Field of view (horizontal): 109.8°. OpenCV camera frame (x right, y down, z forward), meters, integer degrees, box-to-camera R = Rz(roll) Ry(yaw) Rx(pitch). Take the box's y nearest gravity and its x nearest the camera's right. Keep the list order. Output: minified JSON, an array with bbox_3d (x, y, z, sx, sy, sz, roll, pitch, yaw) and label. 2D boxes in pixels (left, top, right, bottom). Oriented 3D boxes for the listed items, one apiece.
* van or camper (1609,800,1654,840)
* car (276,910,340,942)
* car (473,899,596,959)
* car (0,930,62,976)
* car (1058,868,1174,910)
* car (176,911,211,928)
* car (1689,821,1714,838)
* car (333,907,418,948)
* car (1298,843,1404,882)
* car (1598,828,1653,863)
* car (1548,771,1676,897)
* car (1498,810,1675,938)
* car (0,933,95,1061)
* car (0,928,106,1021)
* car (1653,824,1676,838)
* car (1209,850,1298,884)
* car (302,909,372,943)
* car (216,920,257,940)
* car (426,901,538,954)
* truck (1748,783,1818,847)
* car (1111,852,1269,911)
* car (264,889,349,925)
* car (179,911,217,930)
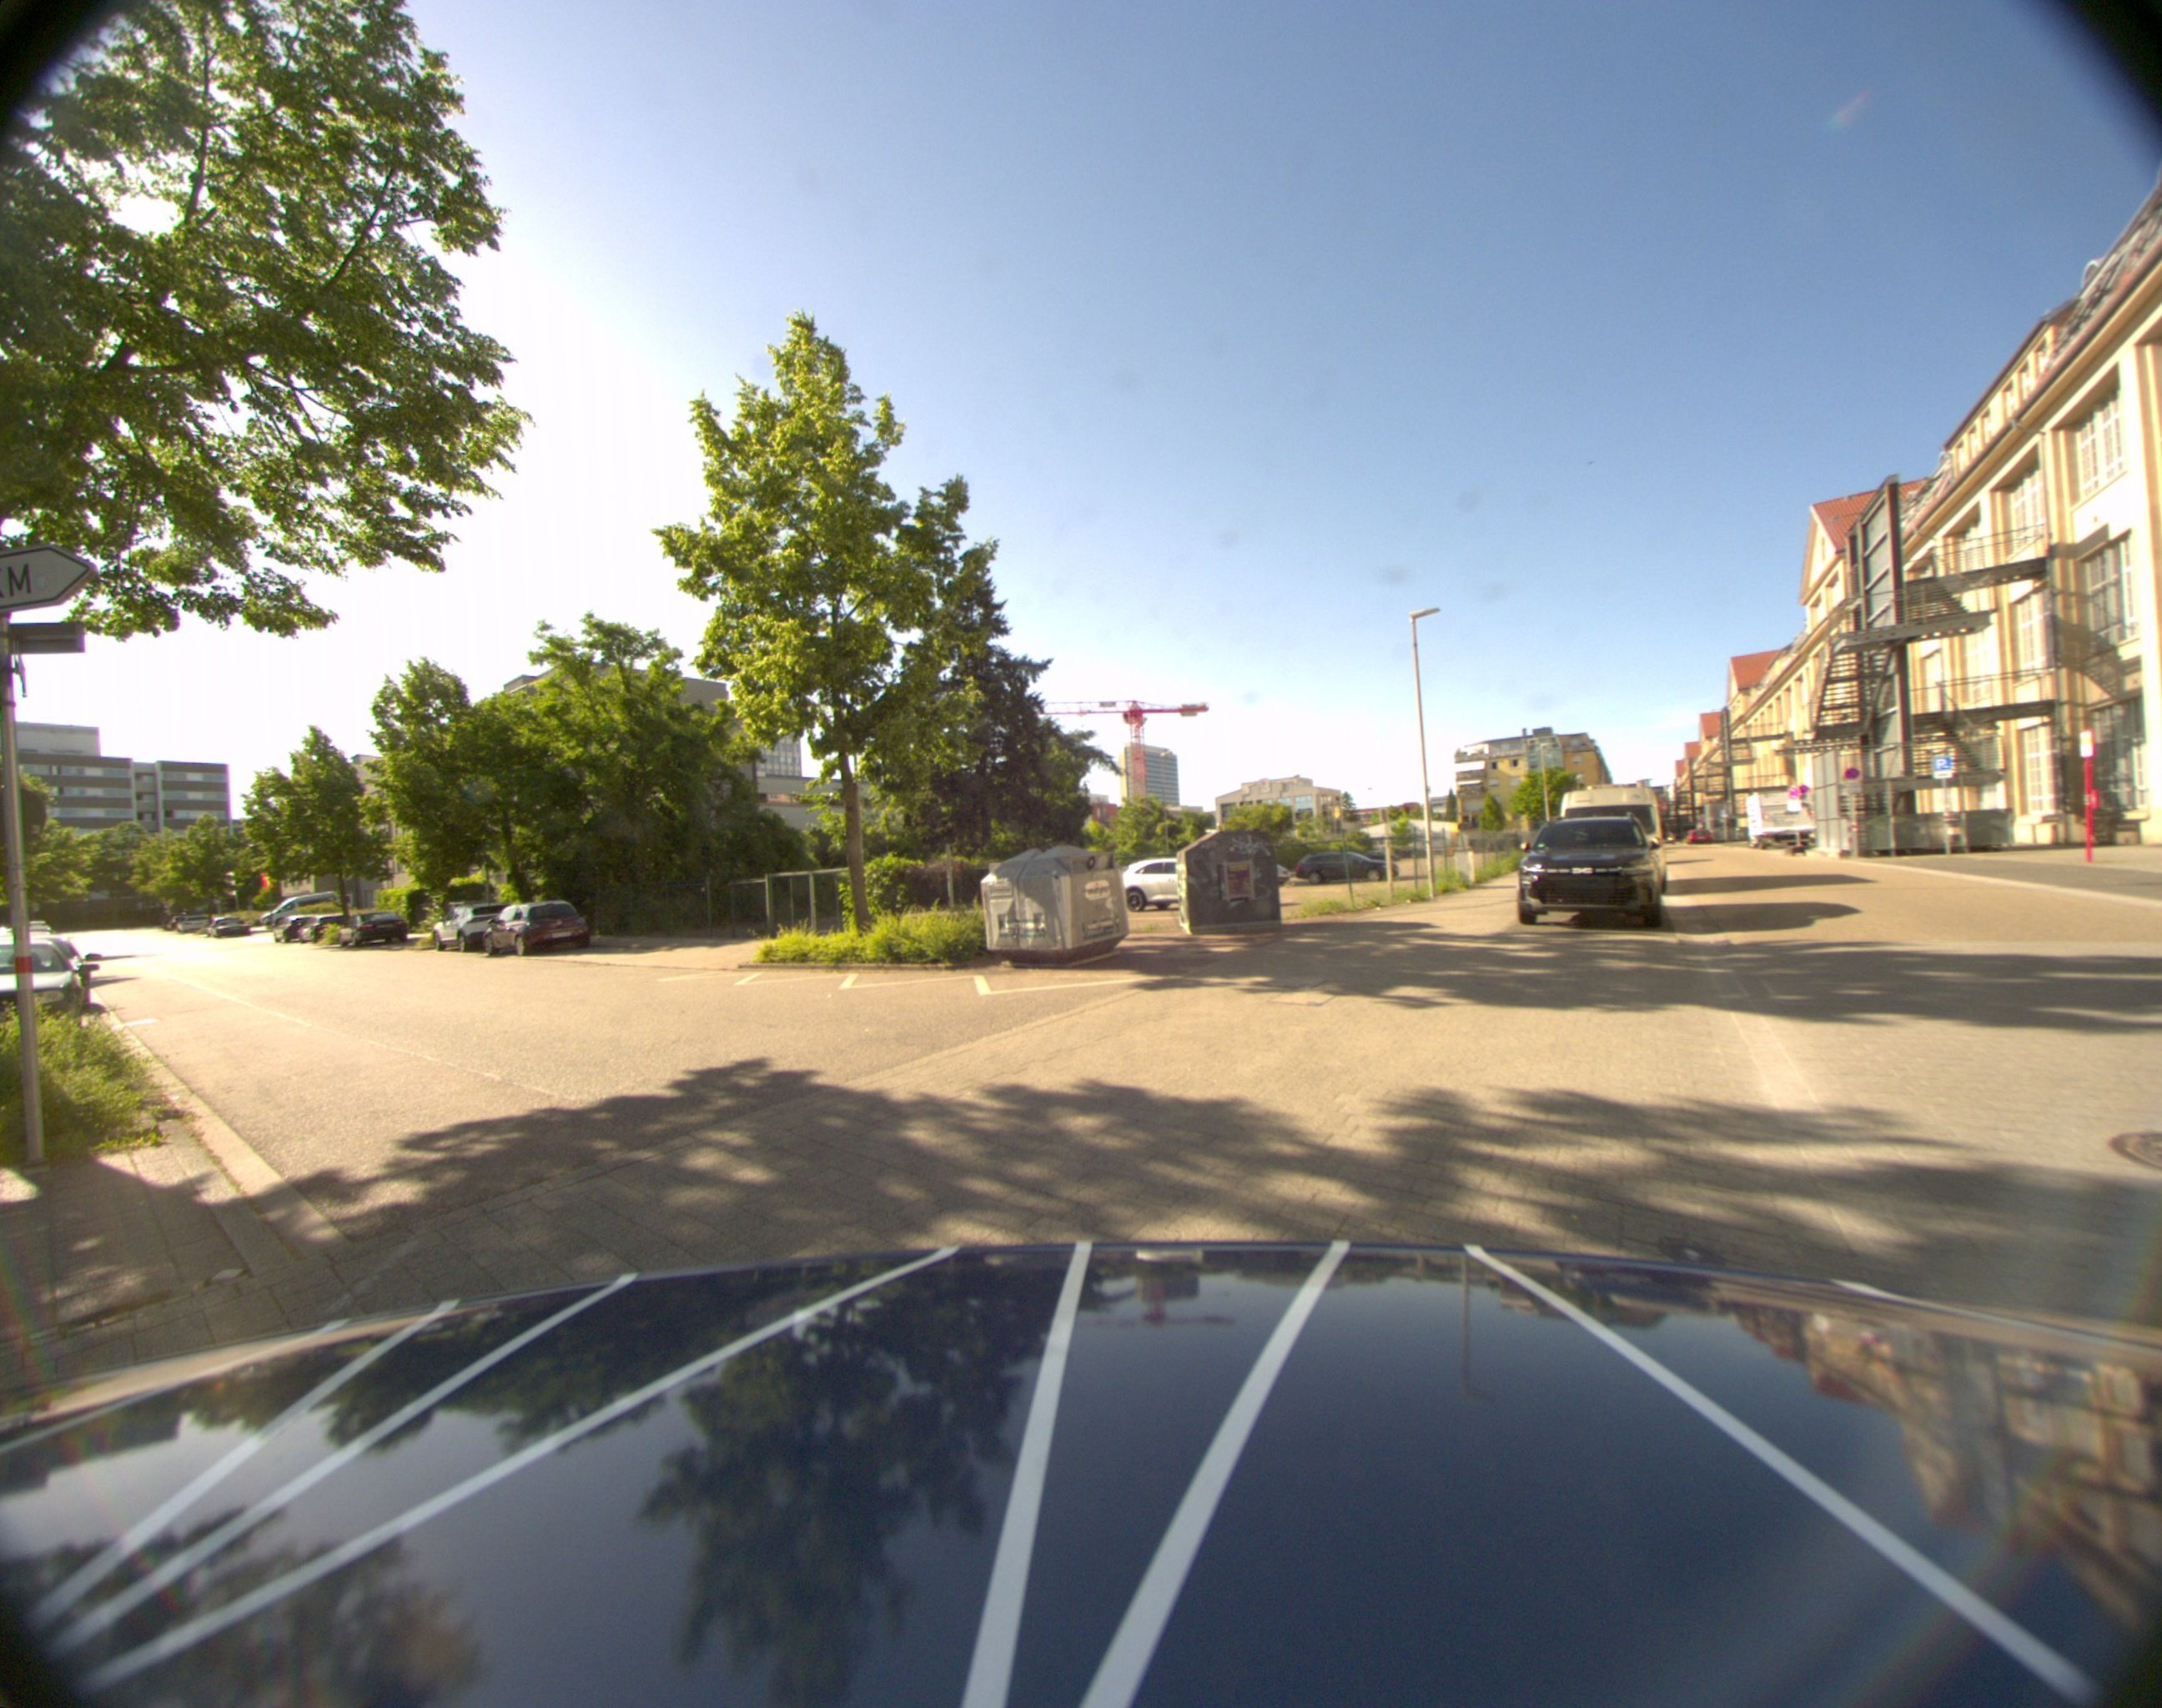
[{"bbox_3d":[43.671,-2.694,60.327,2.717,2.840,5.143,-3,1,35],"label":"van or camper"},{"bbox_3d":[-43.220,3.993,42.474,4.089,1.465,1.849,-3,2,36],"label":"car"},{"bbox_3d":[-16.082,2.168,22.340,3.537,1.465,1.726,-3,2,34],"label":"car"},{"bbox_3d":[-40.069,3.716,28.750,3.837,1.495,1.684,-4,0,36],"label":"car"},{"bbox_3d":[1.379,1.434,31.091,4.363,1.486,1.976,-4,-1,39],"label":"car"},{"bbox_3d":[-89.983,6.608,76.999,3.880,1.509,1.800,-3,1,34],"label":"car"},{"bbox_3d":[60.564,-2.418,74.198,1.757,1.440,4.007,-4,0,39],"label":"car"},{"bbox_3d":[-31.039,3.186,33.374,4.348,1.465,1.849,-3,2,36],"label":"car"},{"bbox_3d":[12.662,0.426,35.763,4.232,1.550,1.901,-4,-1,39],"label":"car"},{"bbox_3d":[24.238,-0.406,33.756,1.846,1.417,4.233,-3,0,37],"label":"car"},{"bbox_3d":[13.249,-0.469,18.846,2.159,2.581,6.295,-3,0,37],"label":"car"},{"bbox_3d":[8.259,0.248,12.247,1.995,1.685,4.111,-3,0,38],"label":"car"},{"bbox_3d":[-15.373,1.971,10.677,4.412,1.413,1.755,-3,0,37],"label":"car"},{"bbox_3d":[-20.479,2.279,14.667,3.990,1.507,1.793,-4,-1,35],"label":"car"},{"bbox_3d":[62.093,-2.459,80.937,1.846,1.417,4.233,-3,0,37],"label":"car"},{"bbox_3d":[9.315,0.709,41.212,4.232,1.550,1.901,-4,-1,36],"label":"car"},{"bbox_3d":[-38.463,3.670,39.244,4.017,1.465,1.849,-3,2,36],"label":"car"},{"bbox_3d":[-62.666,5.644,56.385,3.553,1.240,1.635,-4,-1,37],"label":"car"},{"bbox_3d":[-20.177,2.432,25.563,3.991,1.465,1.849,-3,2,36],"label":"car"},{"bbox_3d":[41.897,-2.280,45.521,2.494,3.411,7.140,-3,1,39],"label":"truck"},{"bbox_3d":[3.373,0.903,23.934,4.415,1.600,2.004,-4,-1,39],"label":"car"},{"bbox_3d":[-72.285,4.934,71.000,2.009,2.885,5.165,-3,0,33],"label":"car"},{"bbox_3d":[-83.169,6.231,71.542,3.880,1.590,1.800,-3,1,34],"label":"car"}]
